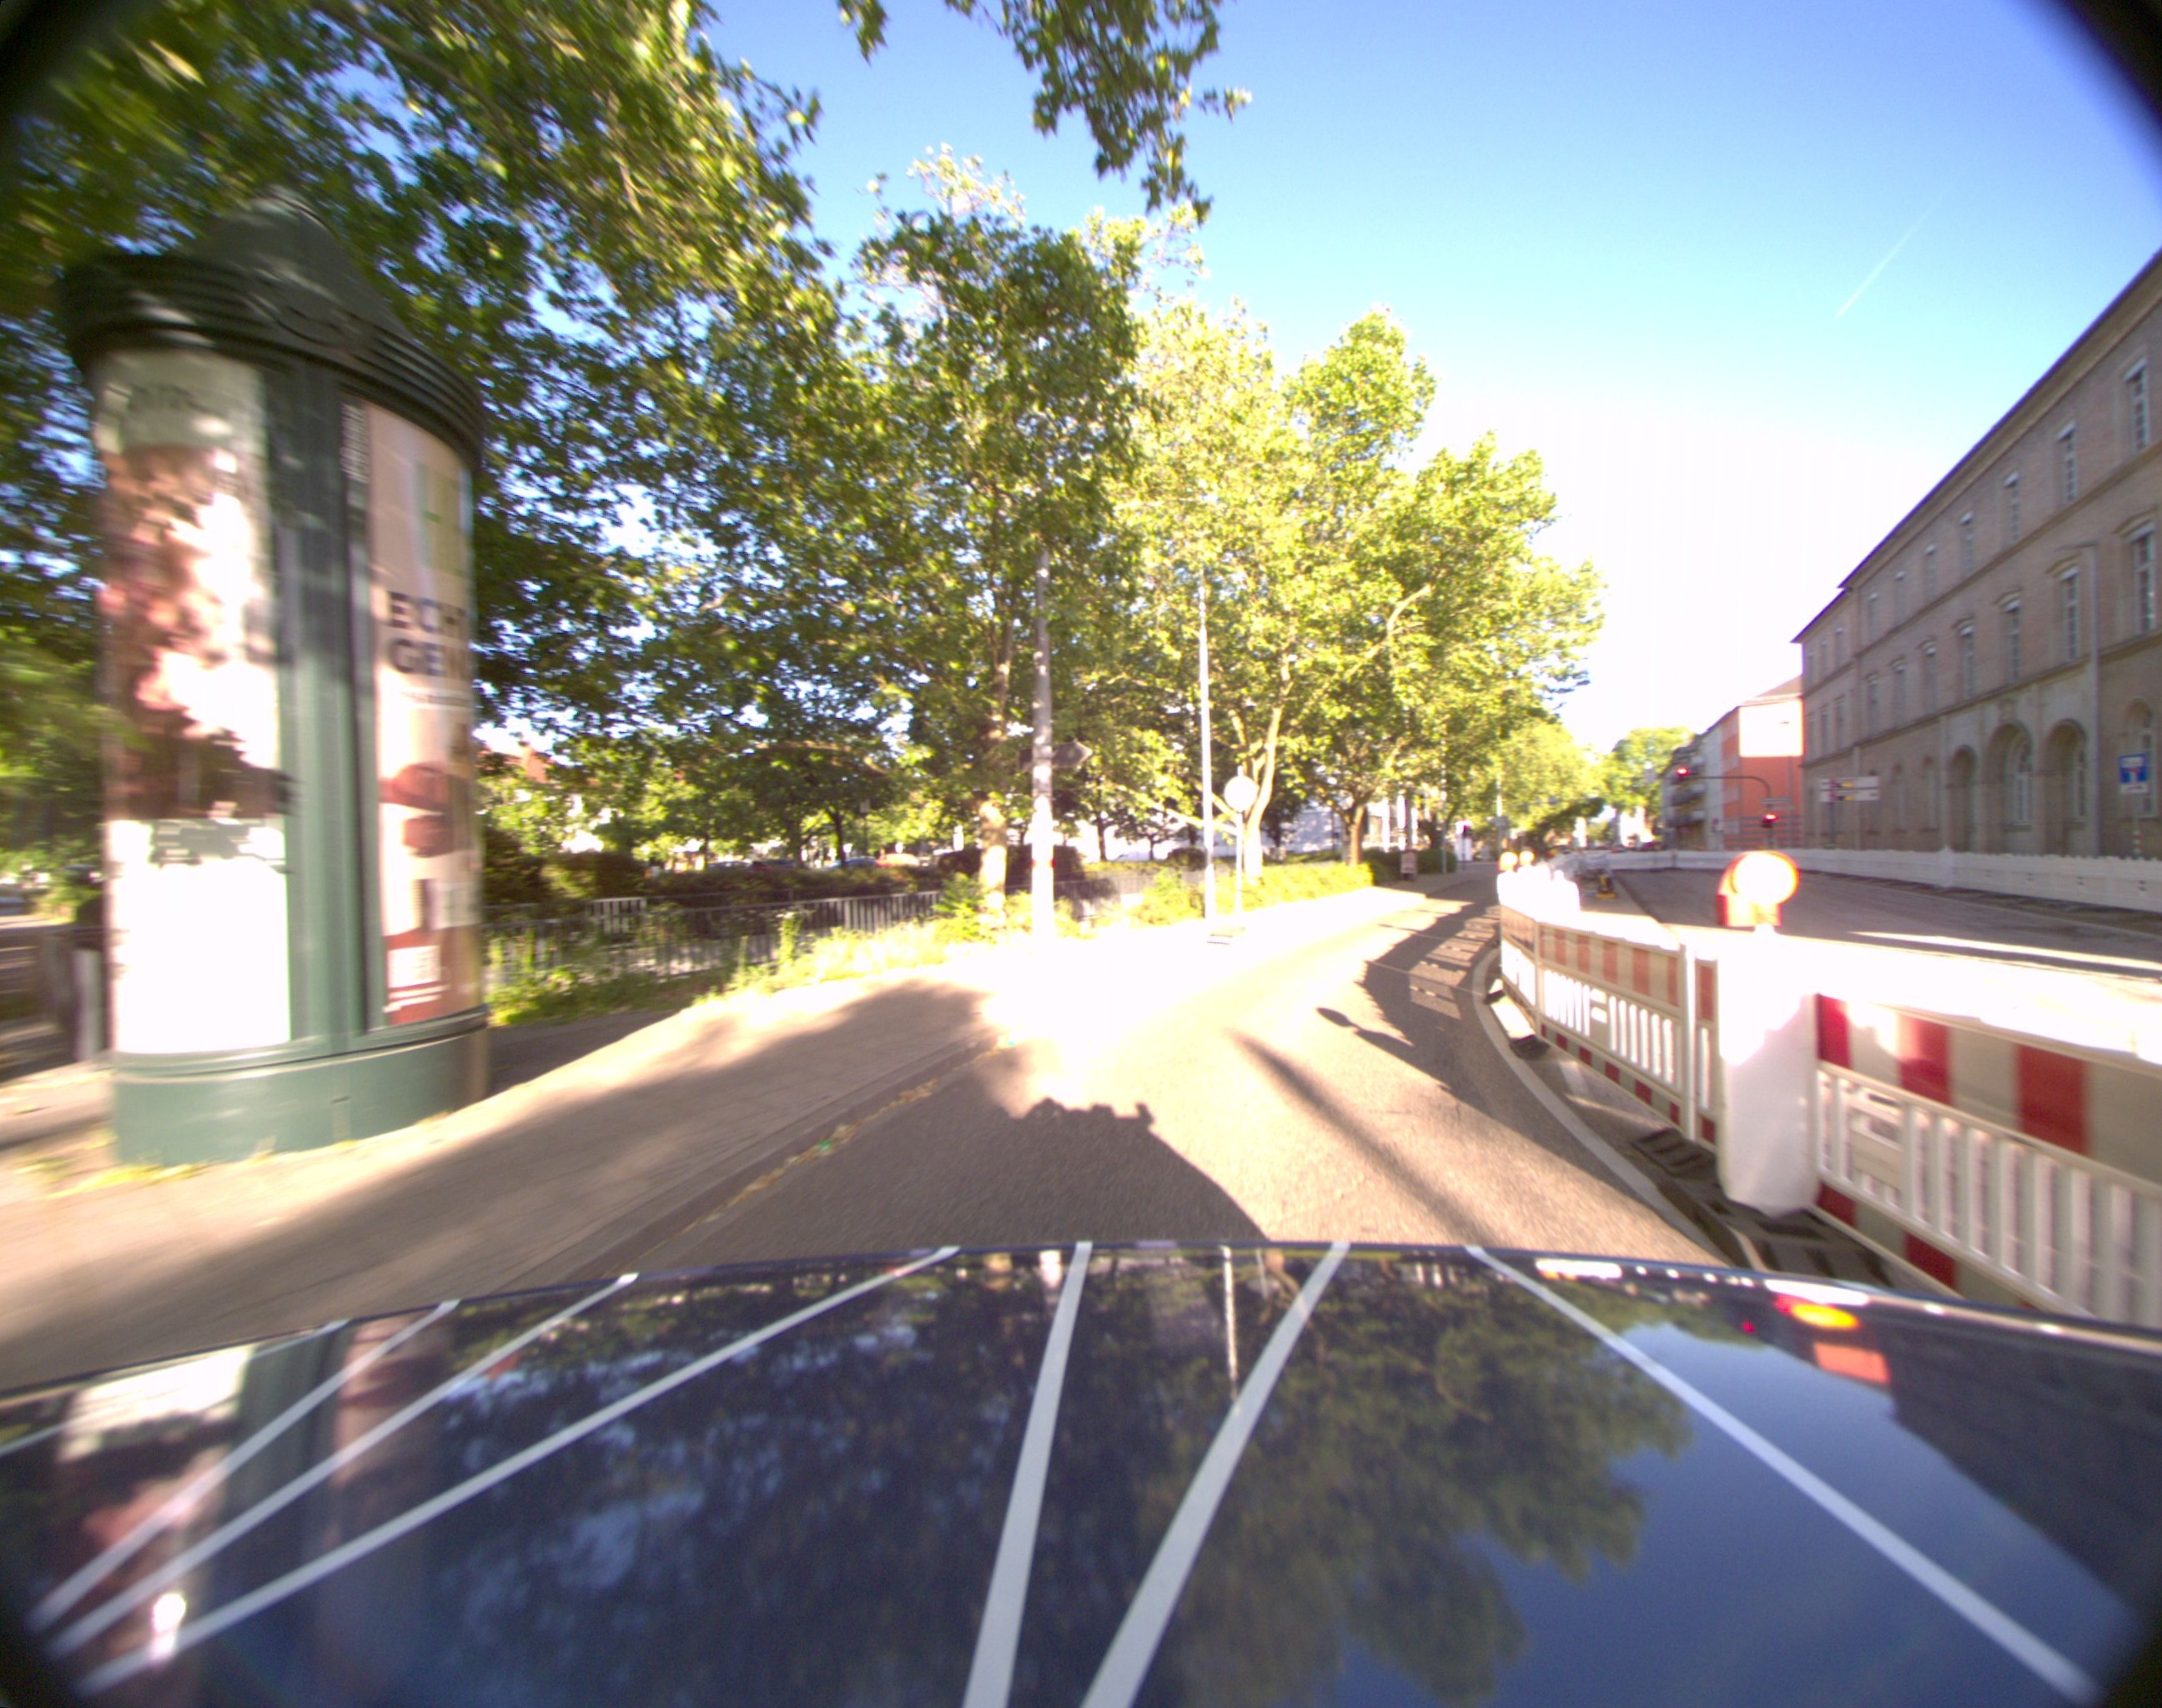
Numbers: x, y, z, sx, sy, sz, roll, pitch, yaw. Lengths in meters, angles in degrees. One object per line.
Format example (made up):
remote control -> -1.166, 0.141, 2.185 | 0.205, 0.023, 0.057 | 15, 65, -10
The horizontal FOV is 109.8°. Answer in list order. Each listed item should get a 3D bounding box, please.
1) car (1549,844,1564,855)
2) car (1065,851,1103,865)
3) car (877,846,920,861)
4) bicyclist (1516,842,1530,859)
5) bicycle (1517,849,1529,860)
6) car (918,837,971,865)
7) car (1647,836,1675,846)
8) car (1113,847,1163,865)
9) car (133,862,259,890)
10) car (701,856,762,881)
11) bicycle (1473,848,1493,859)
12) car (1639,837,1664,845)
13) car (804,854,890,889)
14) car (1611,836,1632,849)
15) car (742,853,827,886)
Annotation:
car -> 67.082, -0.622, 107.255 | 1.783, 1.520, 4.666 | -1, 0, 32
car -> 0.314, 0.426, 81.566 | 3.840, 1.476, 1.633 | -1, 1, 31
car -> -22.362, -0.042, 92.994 | 4.900, 1.776, 2.093 | 1, 2, 24
bicyclist -> 42.954, -0.350, 73.891 | 0.948, 1.630, 1.010 | -2, 0, 41
bicycle -> 42.922, 0.024, 73.791 | 0.702, 1.060, 1.932 | -1, -1, 41
car -> -12.943, -0.291, 72.361 | 1.995, 2.557, 5.169 | -2, -1, 32
car -> 104.932, -2.273, 137.466 | 3.989, 1.689, 1.837 | -1, 0, 35
car -> 5.930, 0.193, 78.898 | 4.707, 1.818, 2.113 | -1, 1, 31
car -> -52.888, 1.292, 45.513 | 2.009, 1.466, 4.666 | -3, -1, 34
car -> -28.643, 1.163, 62.371 | 1.919, 1.935, 4.053 | -2, -1, 32
bicycle -> 38.891, -0.039, 73.533 | 1.633, 0.994, 0.622 | 0, 3, 8
car -> 119.227, -2.673, 158.838 | 3.989, 1.689, 1.837 | -1, 0, 35
car -> -11.706, 0.828, 38.323 | 1.759, 1.617, 4.007 | -1, 0, 29
car -> 84.059, -1.751, 118.232 | 1.995, 1.806, 5.133 | -1, 1, 29
car -> -15.741, 0.822, 40.549 | 1.549, 1.616, 4.008 | -2, -1, 34
